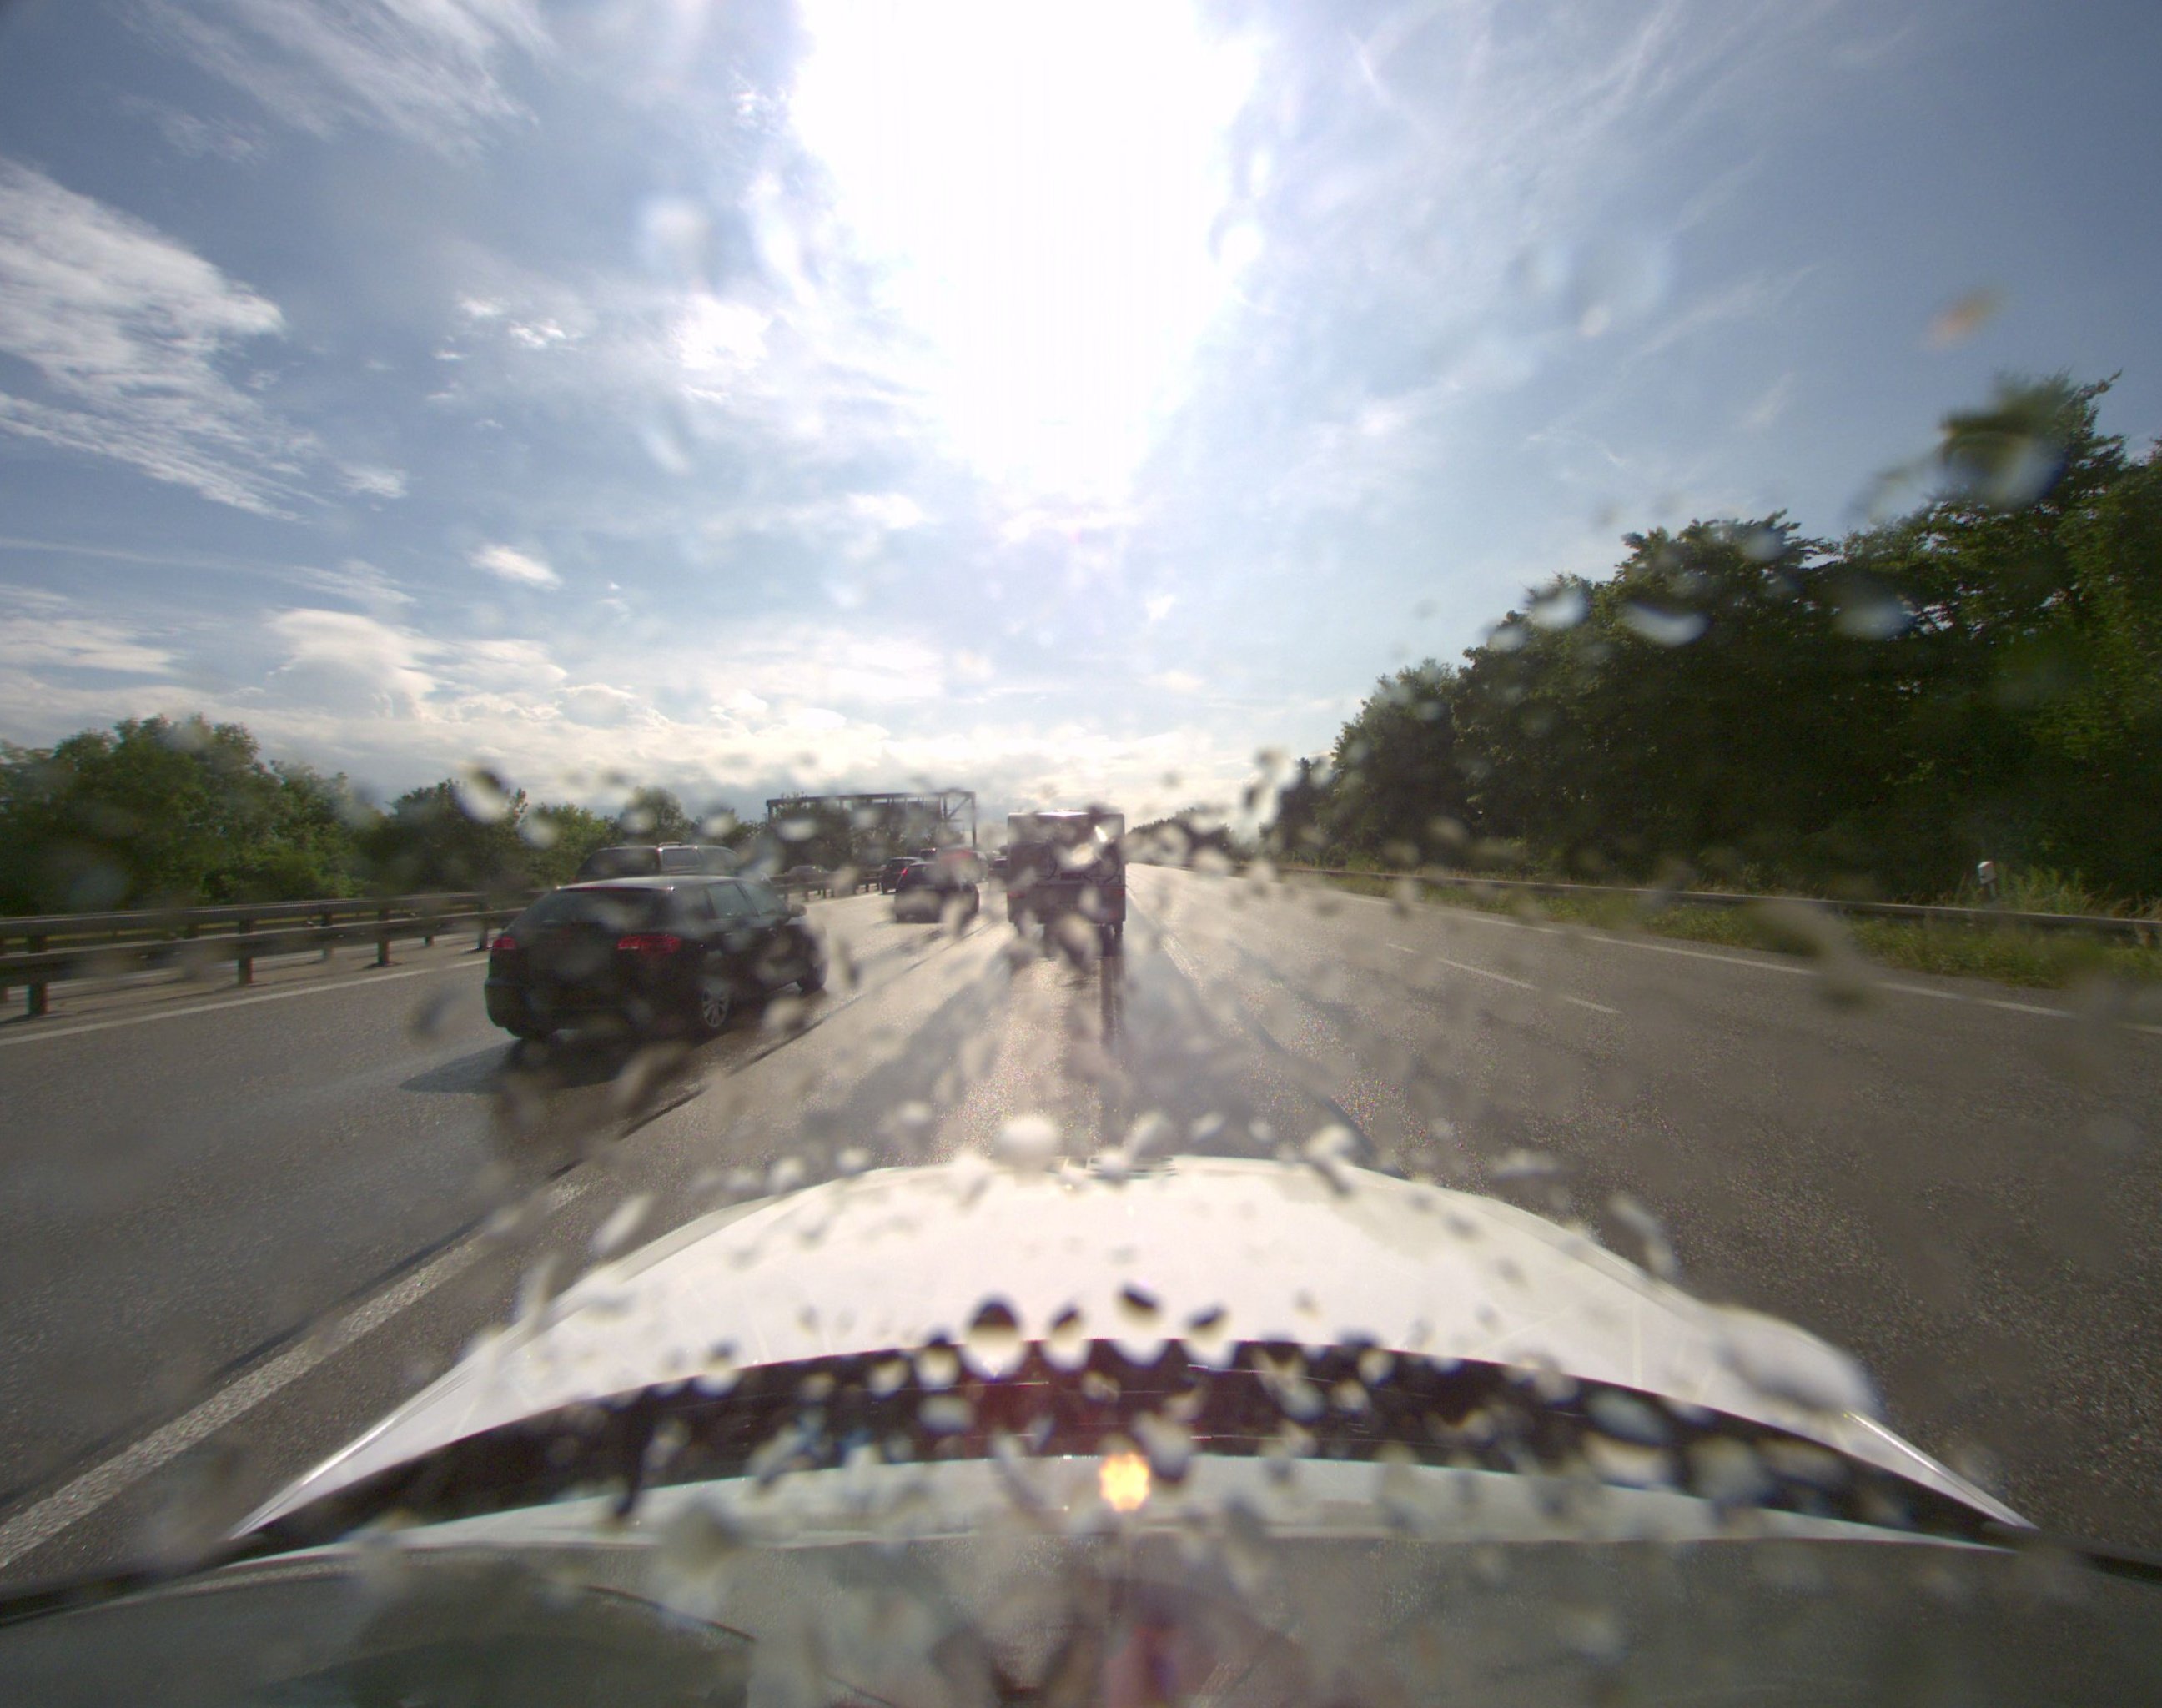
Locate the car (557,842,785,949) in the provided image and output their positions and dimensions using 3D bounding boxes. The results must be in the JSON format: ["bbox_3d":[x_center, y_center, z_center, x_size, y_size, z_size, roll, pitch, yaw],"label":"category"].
[{"bbox_3d":[-8.156,0.728,16.933,1.799,1.844,5.421,-1,0,2],"label":"car"}]

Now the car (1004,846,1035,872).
[{"bbox_3d":[-3.977,0.326,53.125,1.683,1.662,3.641,-1,0,1],"label":"car"}]

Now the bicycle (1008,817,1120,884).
[{"bbox_3d":[-0.284,-0.061,14.251,1.926,1.141,0.384,-1,-1,2],"label":"bicycle"}]

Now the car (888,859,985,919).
[{"bbox_3d":[-3.820,0.889,22.147,1.752,1.443,4.002,-1,0,2],"label":"car"}]

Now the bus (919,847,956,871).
[{"bbox_3d":[-21.017,0.711,120.377,2.880,3.374,12.475,-1,0,2],"label":"bus"}]

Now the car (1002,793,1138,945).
[{"bbox_3d":[-0.122,0.285,16.442,2.401,2.674,4.002,-1,-1,2],"label":"car"}]

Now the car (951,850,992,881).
[{"bbox_3d":[-7.008,0.708,52.507,1.841,1.934,5.017,-1,0,1],"label":"car"}]

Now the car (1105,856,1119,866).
[{"bbox_3d":[4.741,1.060,126.385,1.831,1.558,3.996,0,0,-2],"label":"car"}]

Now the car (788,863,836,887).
[{"bbox_3d":[-15.459,1.179,46.961,1.505,1.266,3.409,-1,0,1],"label":"car"}]

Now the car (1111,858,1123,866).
[{"bbox_3d":[6.941,1.513,156.339,1.872,1.494,3.996,0,0,-2],"label":"car"}]

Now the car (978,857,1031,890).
[{"bbox_3d":[-3.516,0.879,38.215,1.980,1.458,3.828,-1,0,2],"label":"car"}]

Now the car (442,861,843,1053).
[{"bbox_3d":[-3.984,0.814,8.313,1.743,1.433,4.056,-1,0,2],"label":"car"}]

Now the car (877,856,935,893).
[{"bbox_3d":[-8.015,0.915,37.622,1.777,1.578,3.915,-1,0,0],"label":"car"}]

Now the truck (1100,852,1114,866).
[{"bbox_3d":[4.637,0.898,146.276,2.406,2.444,6.056,-1,0,2],"label":"truck"}]

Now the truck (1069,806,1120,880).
[{"bbox_3d":[0.910,-0.685,57.155,3.135,4.626,10.735,-1,0,0],"label":"truck"}]
